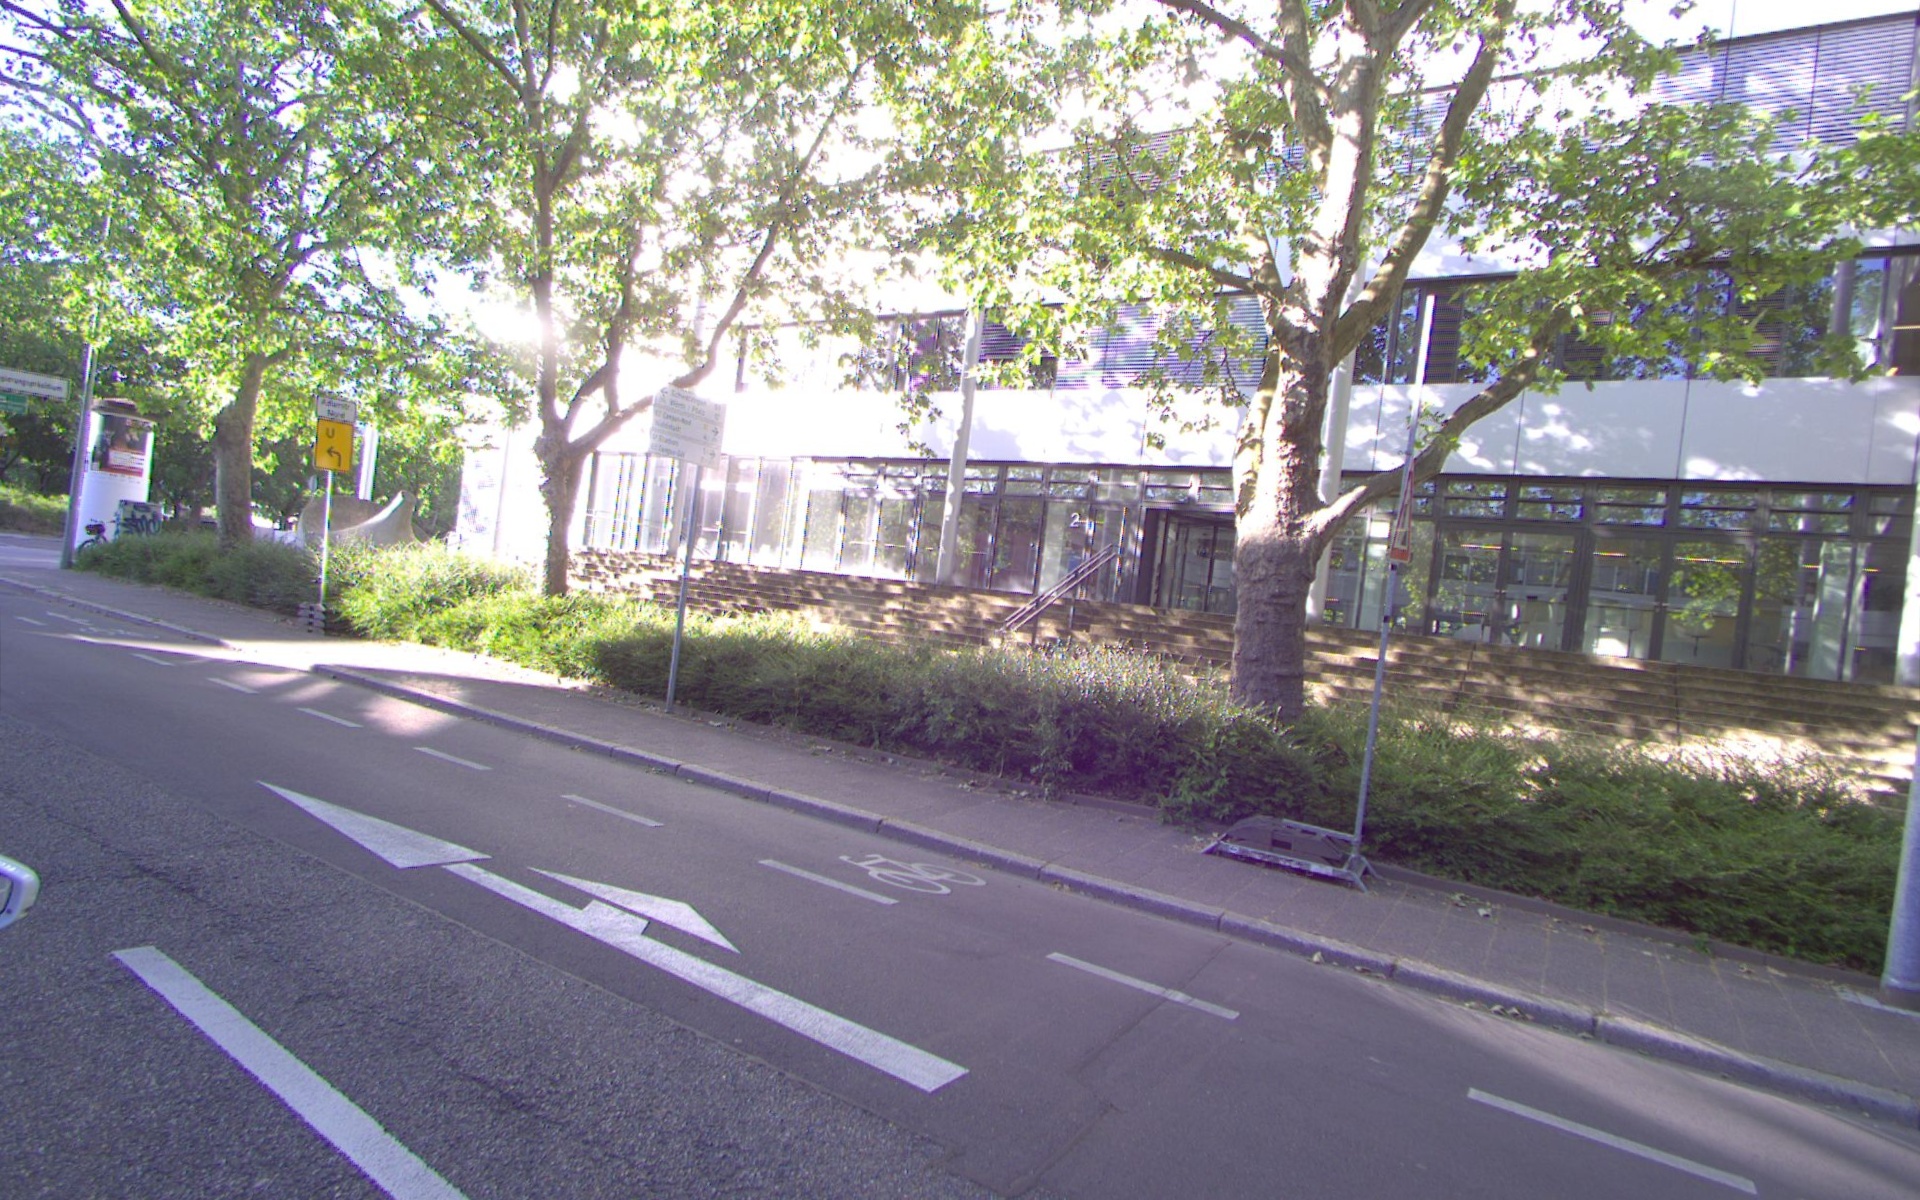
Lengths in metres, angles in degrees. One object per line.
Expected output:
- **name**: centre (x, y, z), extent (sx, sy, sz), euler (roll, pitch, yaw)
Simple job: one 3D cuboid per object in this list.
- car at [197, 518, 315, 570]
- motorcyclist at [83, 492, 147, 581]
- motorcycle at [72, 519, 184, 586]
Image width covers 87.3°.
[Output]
- **car**: centre (-32.699, -2.567, 46.829), extent (1.708, 1.792, 3.995), euler (7, -1, 30)
- **motorcyclist**: centre (-19.353, -1.446, 23.039), extent (0.662, 1.885, 0.823), euler (6, -1, 37)
- **motorcycle**: centre (-19.226, -1.091, 23.287), extent (0.712, 1.257, 1.781), euler (6, -2, 37)
